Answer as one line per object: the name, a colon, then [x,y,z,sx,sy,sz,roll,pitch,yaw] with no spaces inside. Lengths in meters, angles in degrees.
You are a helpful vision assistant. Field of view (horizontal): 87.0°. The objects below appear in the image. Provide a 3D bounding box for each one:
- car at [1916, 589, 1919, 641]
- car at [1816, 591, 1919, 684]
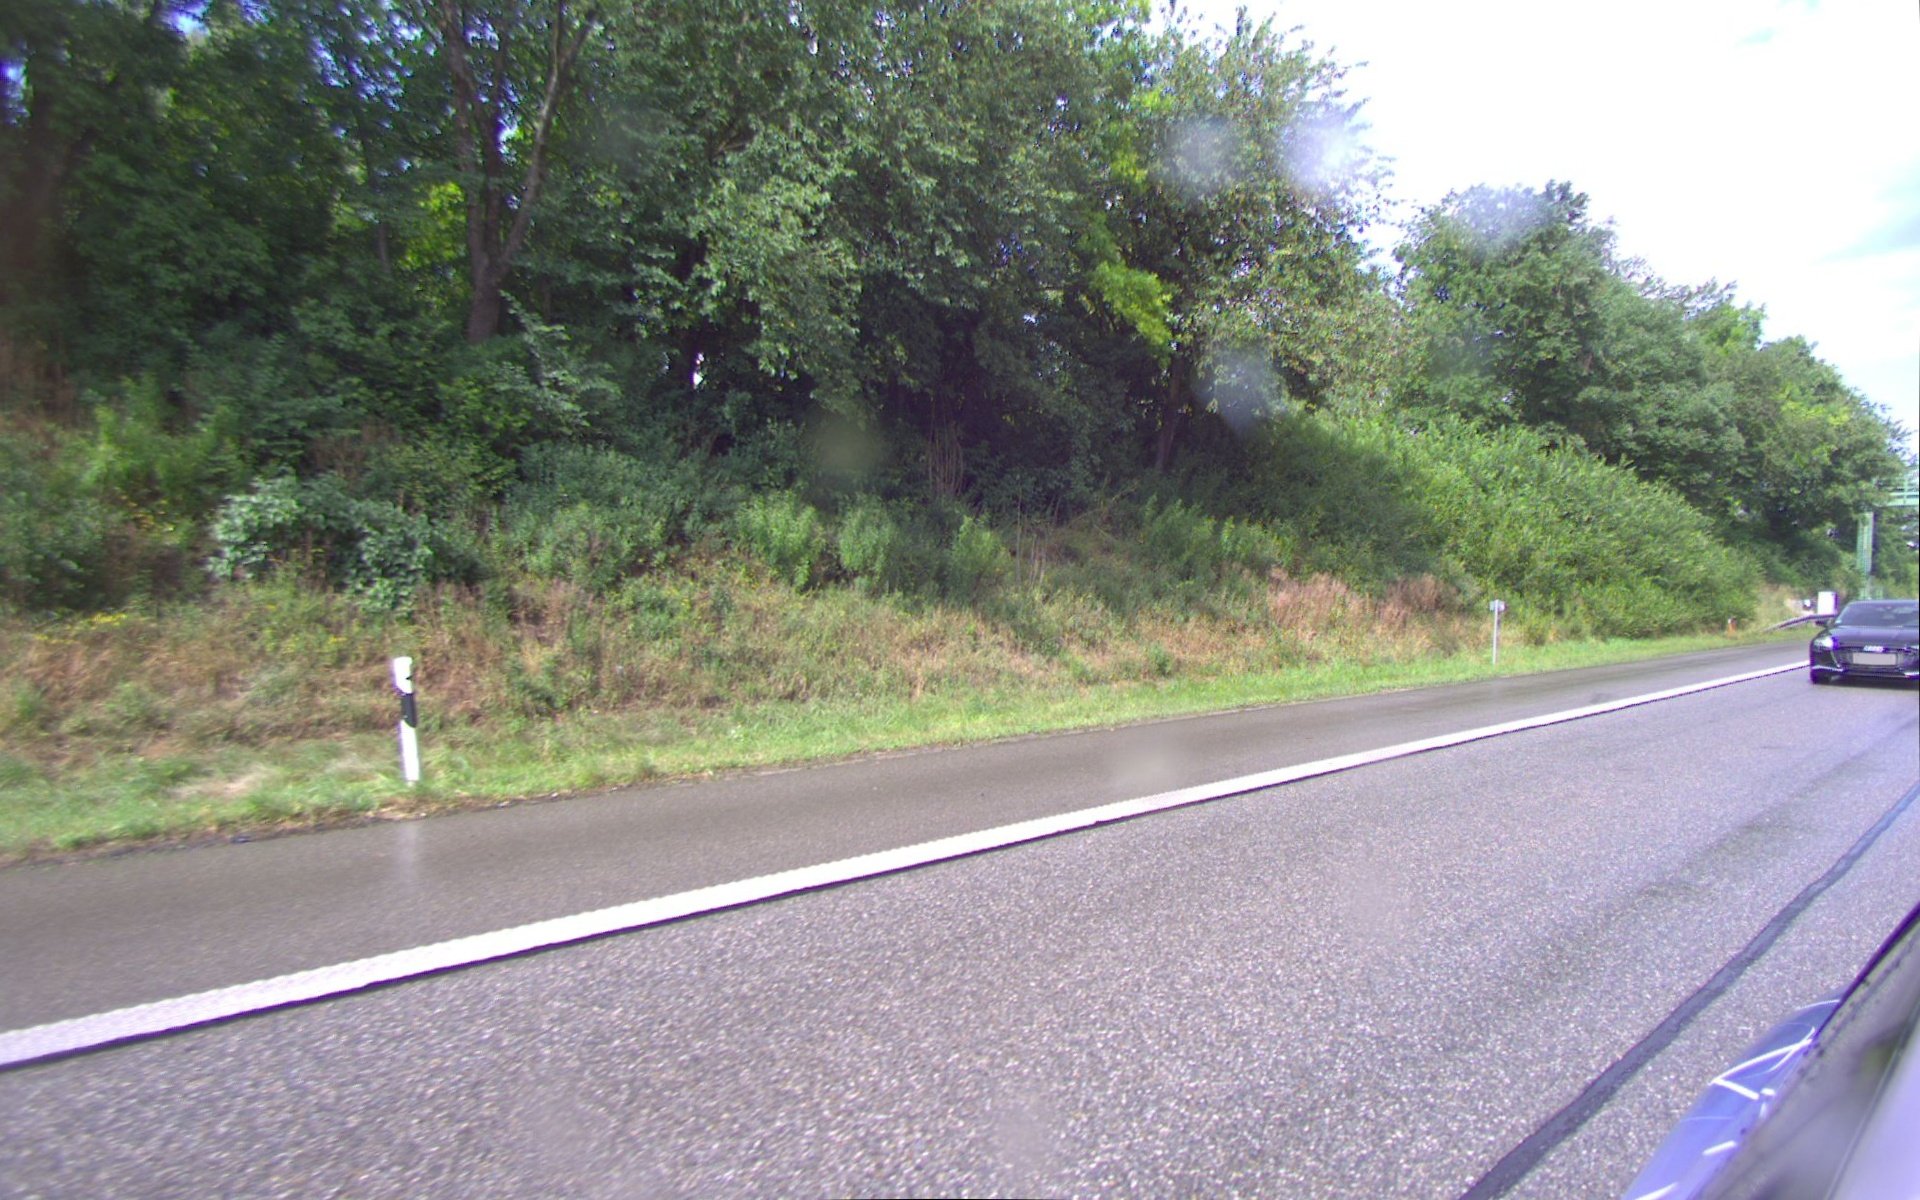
car: [28.937,0.411,29.242,3.681,1.474,1.653,-1,1,-43]
car: [16.125,0.567,17.248,4.292,1.414,1.758,-1,1,-41]
